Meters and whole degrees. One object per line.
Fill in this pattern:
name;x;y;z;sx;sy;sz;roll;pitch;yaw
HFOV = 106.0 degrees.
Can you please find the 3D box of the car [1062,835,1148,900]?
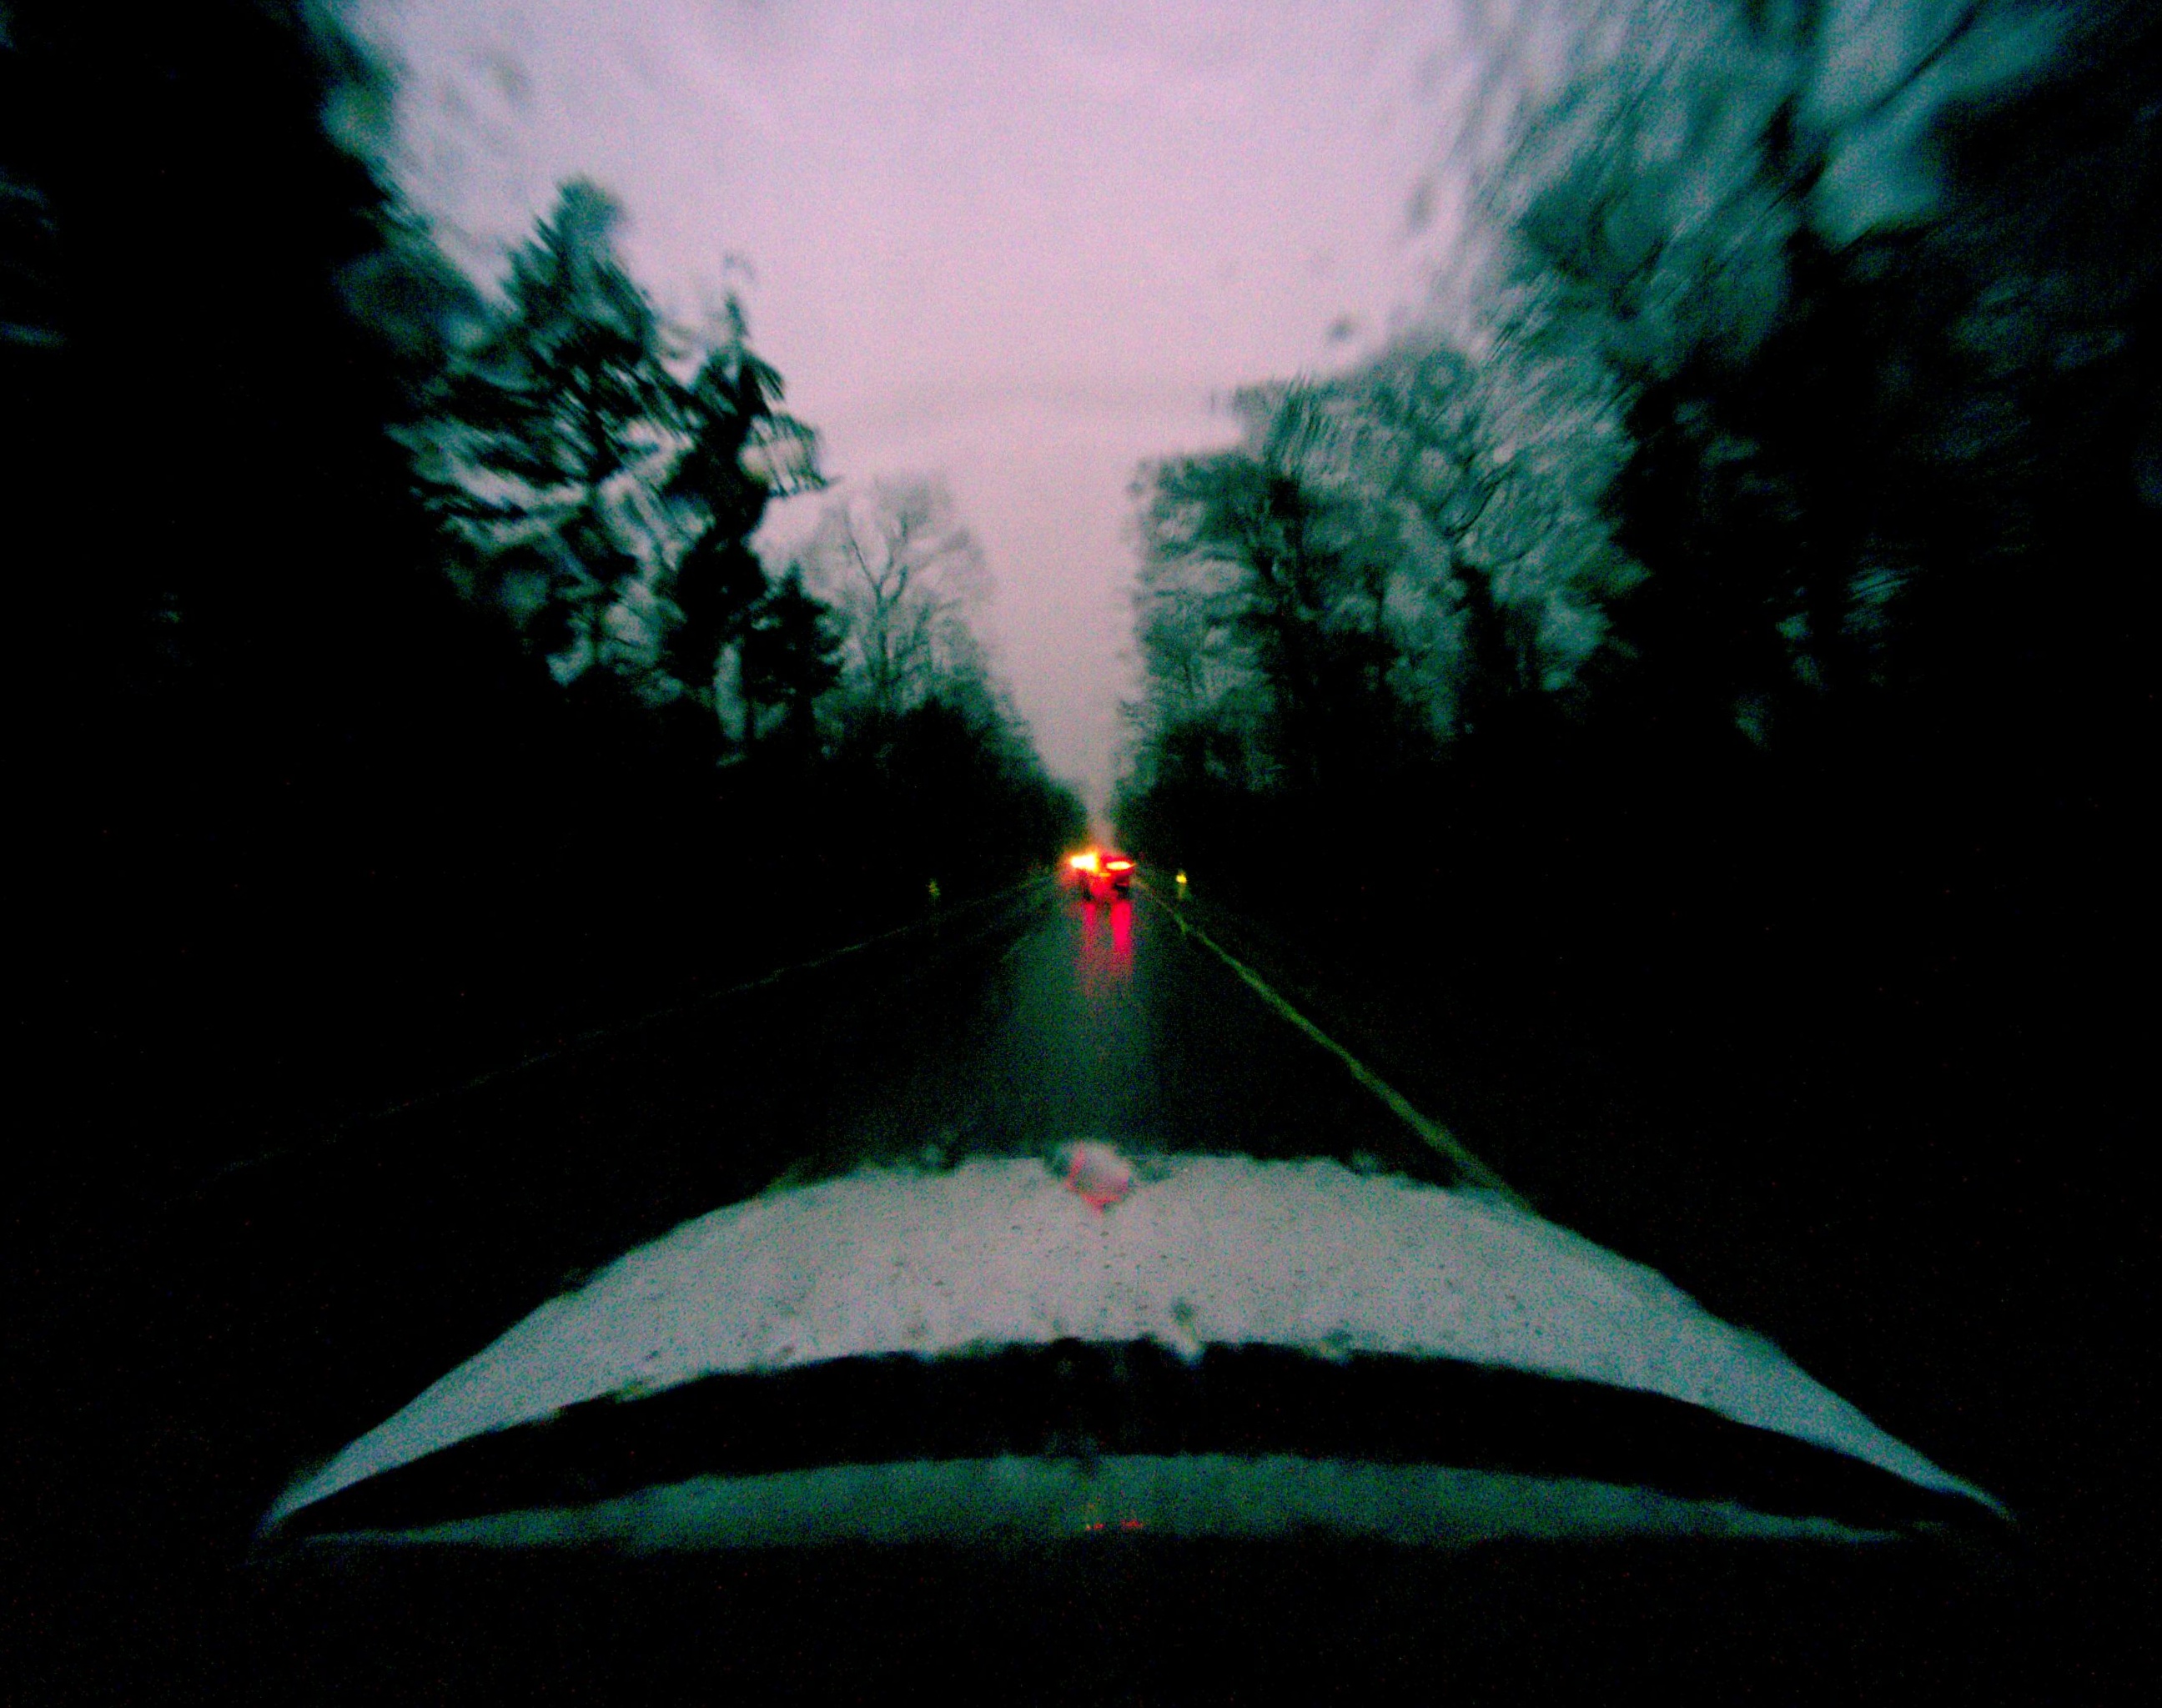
car;1.037;0.507;33.551;3.171;2.386;6.640;0;0;2
